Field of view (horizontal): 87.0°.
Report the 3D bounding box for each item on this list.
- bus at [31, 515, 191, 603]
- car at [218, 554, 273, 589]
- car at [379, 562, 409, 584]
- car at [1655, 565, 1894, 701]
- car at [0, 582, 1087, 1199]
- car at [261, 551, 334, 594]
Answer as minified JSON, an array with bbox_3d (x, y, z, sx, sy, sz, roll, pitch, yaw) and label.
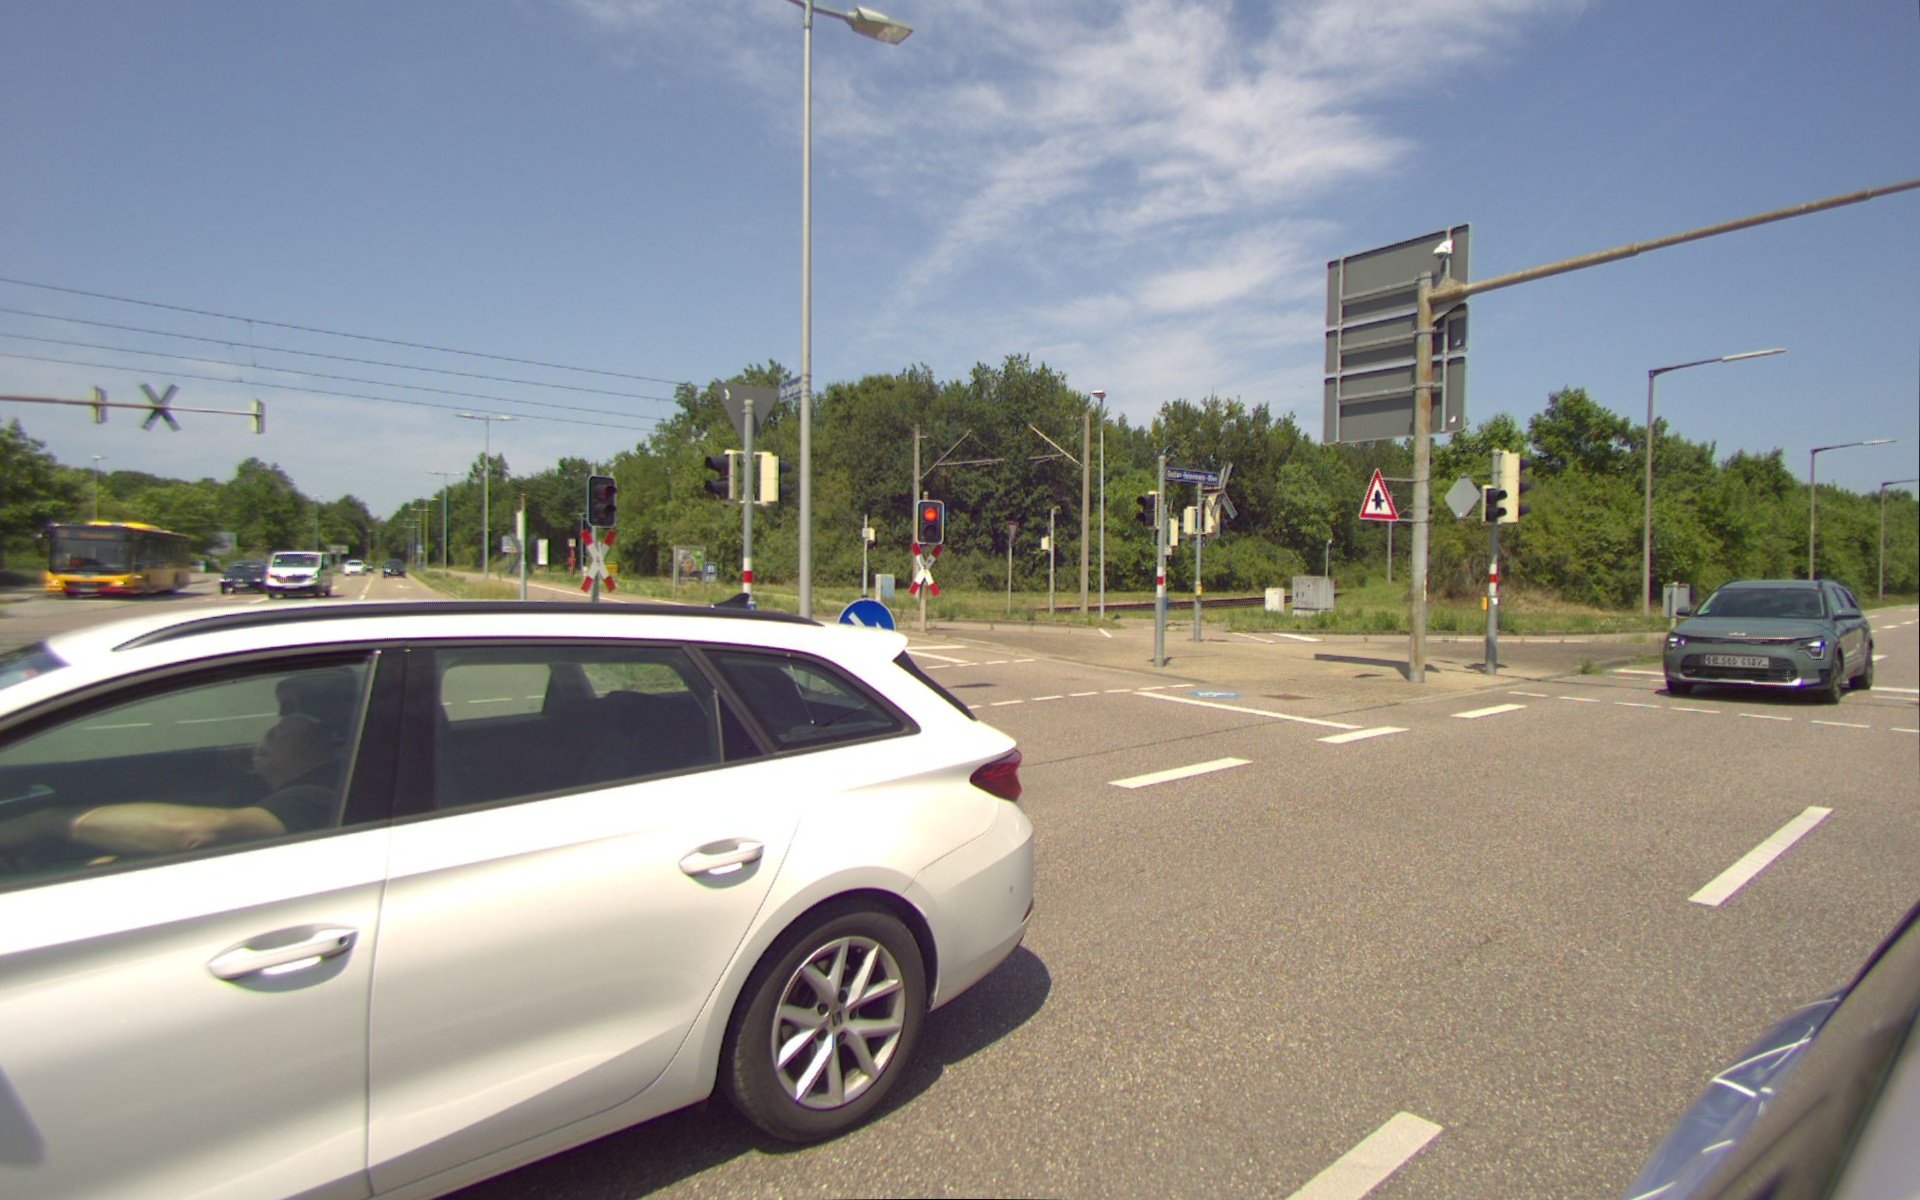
[{"bbox_3d":[-34.974,-1.630,42.230,2.782,3.158,12.094,-2,2,-29],"label":"bus"},{"bbox_3d":[-34.427,-1.355,48.827,1.640,1.599,4.006,0,1,-28],"label":"car"},{"bbox_3d":[-47.210,-2.264,84.388,1.961,1.812,4.002,-1,2,-33],"label":"car"},{"bbox_3d":[11.306,0.345,13.971,3.927,1.616,1.723,-1,2,-38],"label":"car"},{"bbox_3d":[-1.752,0.673,2.529,4.375,1.407,1.685,-1,2,-42],"label":"car"},{"bbox_3d":[-28.424,-1.160,43.553,1.790,1.750,5.082,-2,1,-24],"label":"car"}]
